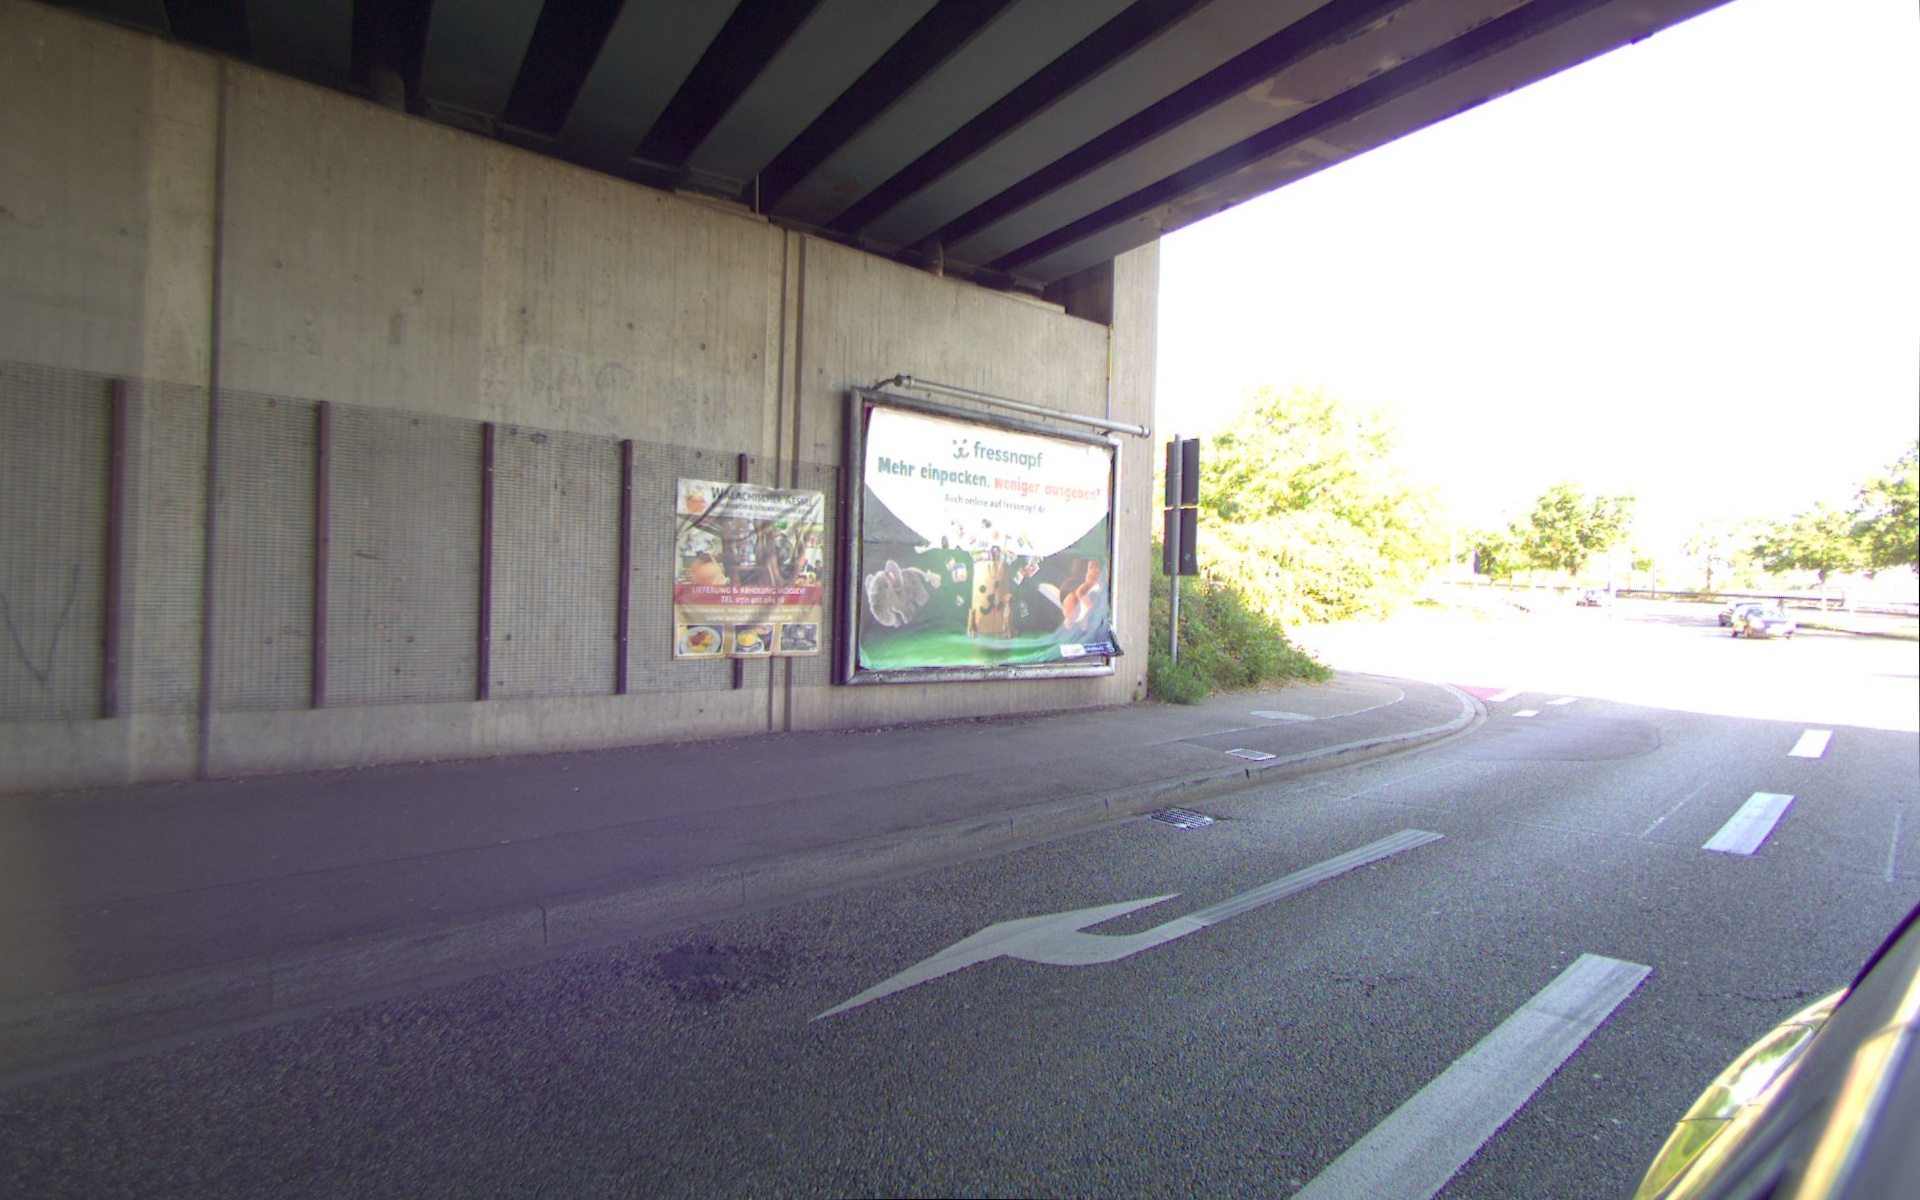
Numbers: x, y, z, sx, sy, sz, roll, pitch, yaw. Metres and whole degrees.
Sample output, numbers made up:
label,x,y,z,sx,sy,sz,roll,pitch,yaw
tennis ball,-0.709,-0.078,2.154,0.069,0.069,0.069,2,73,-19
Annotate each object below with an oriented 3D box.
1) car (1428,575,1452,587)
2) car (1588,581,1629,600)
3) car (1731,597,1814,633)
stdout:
label,x,y,z,sx,sy,sz,roll,pitch,yaw
car,62.916,-2.493,132.776,1.820,1.501,3.968,2,0,11
car,52.791,-0.752,82.481,1.834,1.498,4.203,0,1,19
car,35.647,0.675,44.514,1.720,1.438,4.283,2,-1,23
